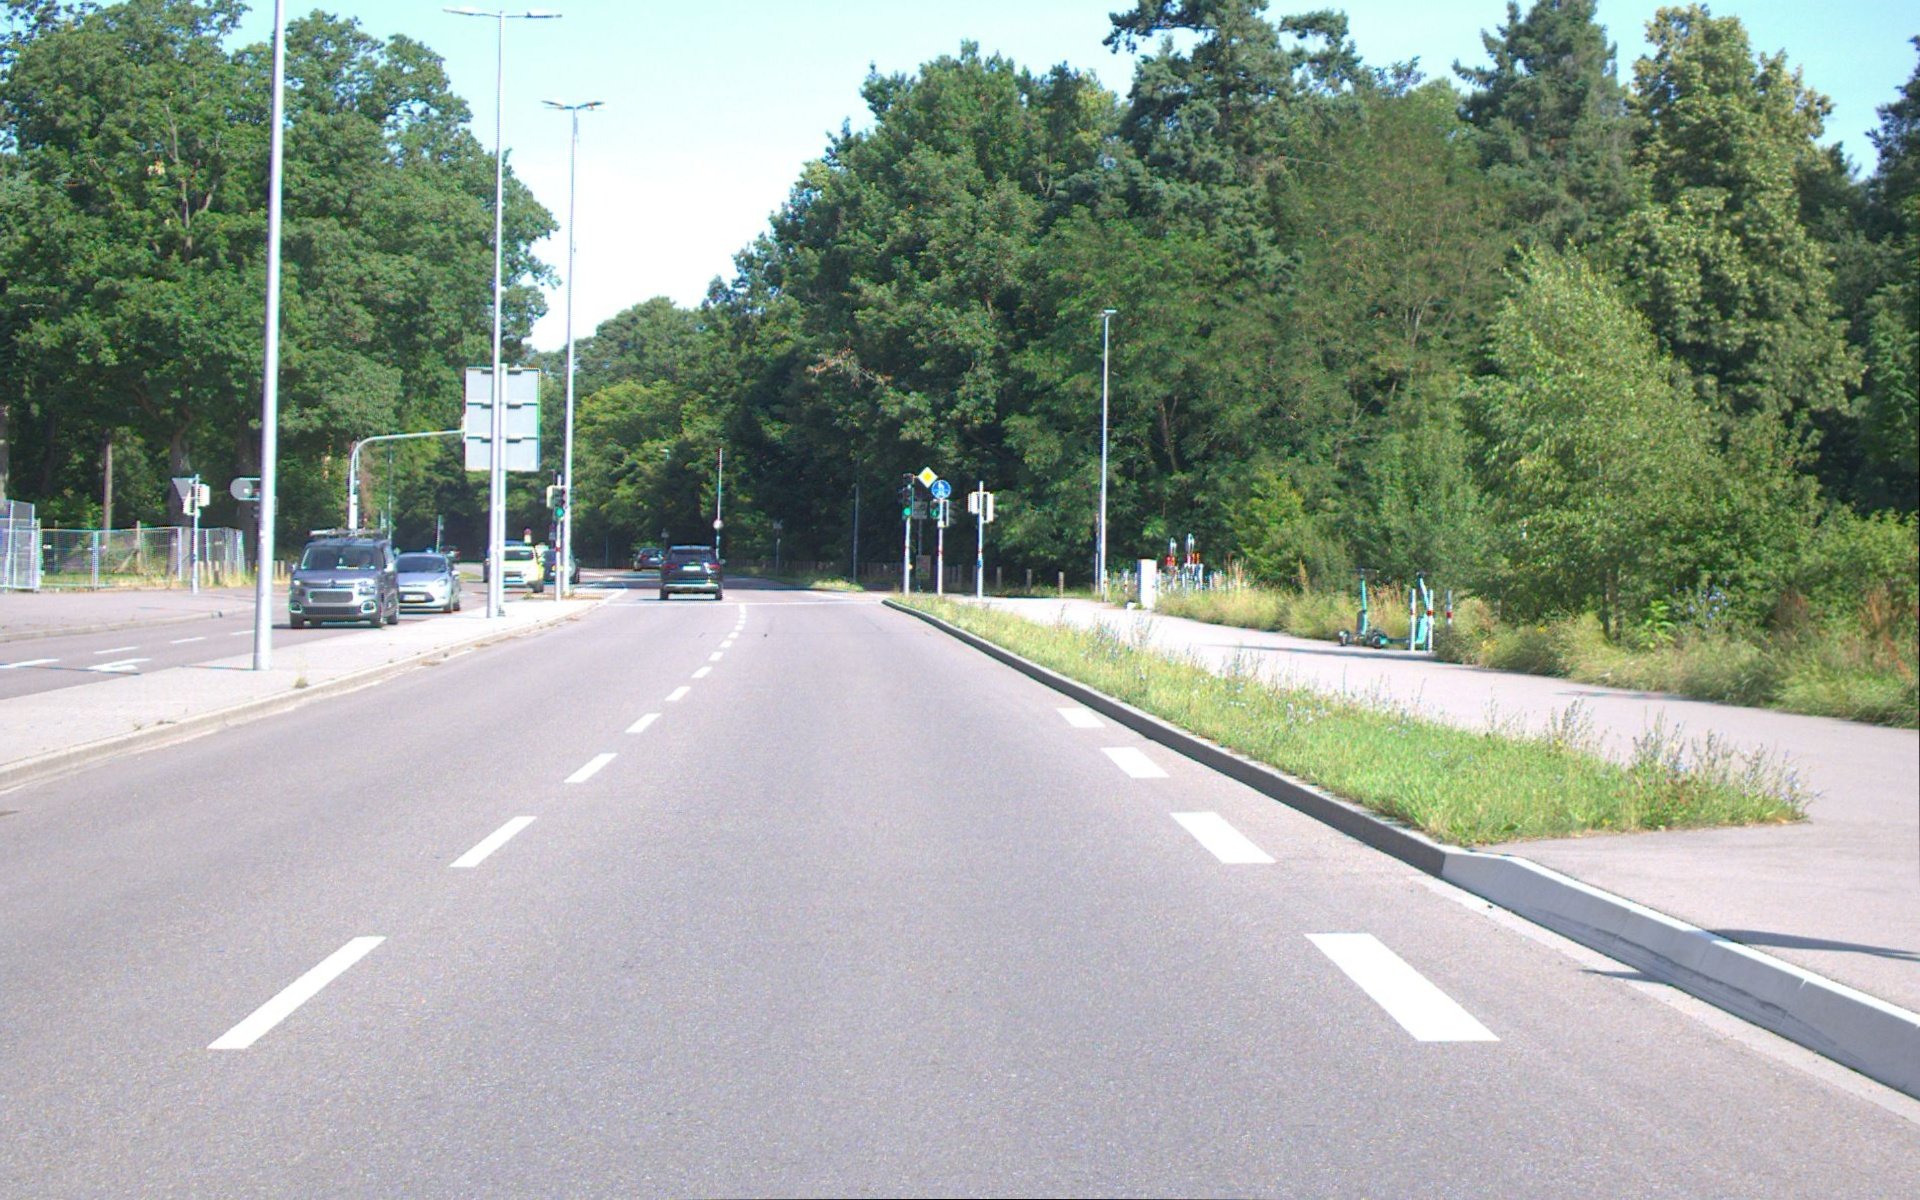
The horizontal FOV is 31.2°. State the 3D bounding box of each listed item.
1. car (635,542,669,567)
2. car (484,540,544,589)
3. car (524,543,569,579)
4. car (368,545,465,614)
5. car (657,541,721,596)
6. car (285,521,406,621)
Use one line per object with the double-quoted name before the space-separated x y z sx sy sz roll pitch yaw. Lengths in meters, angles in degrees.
"car" -18.334 -2.724 204.662 1.940 1.415 4.294 1 1 -6
"car" -15.492 -1.240 119.584 1.845 1.612 4.001 2 1 -5
"car" -17.684 -1.677 147.189 1.819 1.459 4.001 2 1 -6
"car" -13.005 -0.506 82.406 1.909 1.579 4.001 1 1 -4
"car" -7.840 -0.942 99.784 1.687 1.539 4.149 0 1 -2
"car" -12.211 -0.589 68.570 1.841 1.925 4.630 0 1 -3
